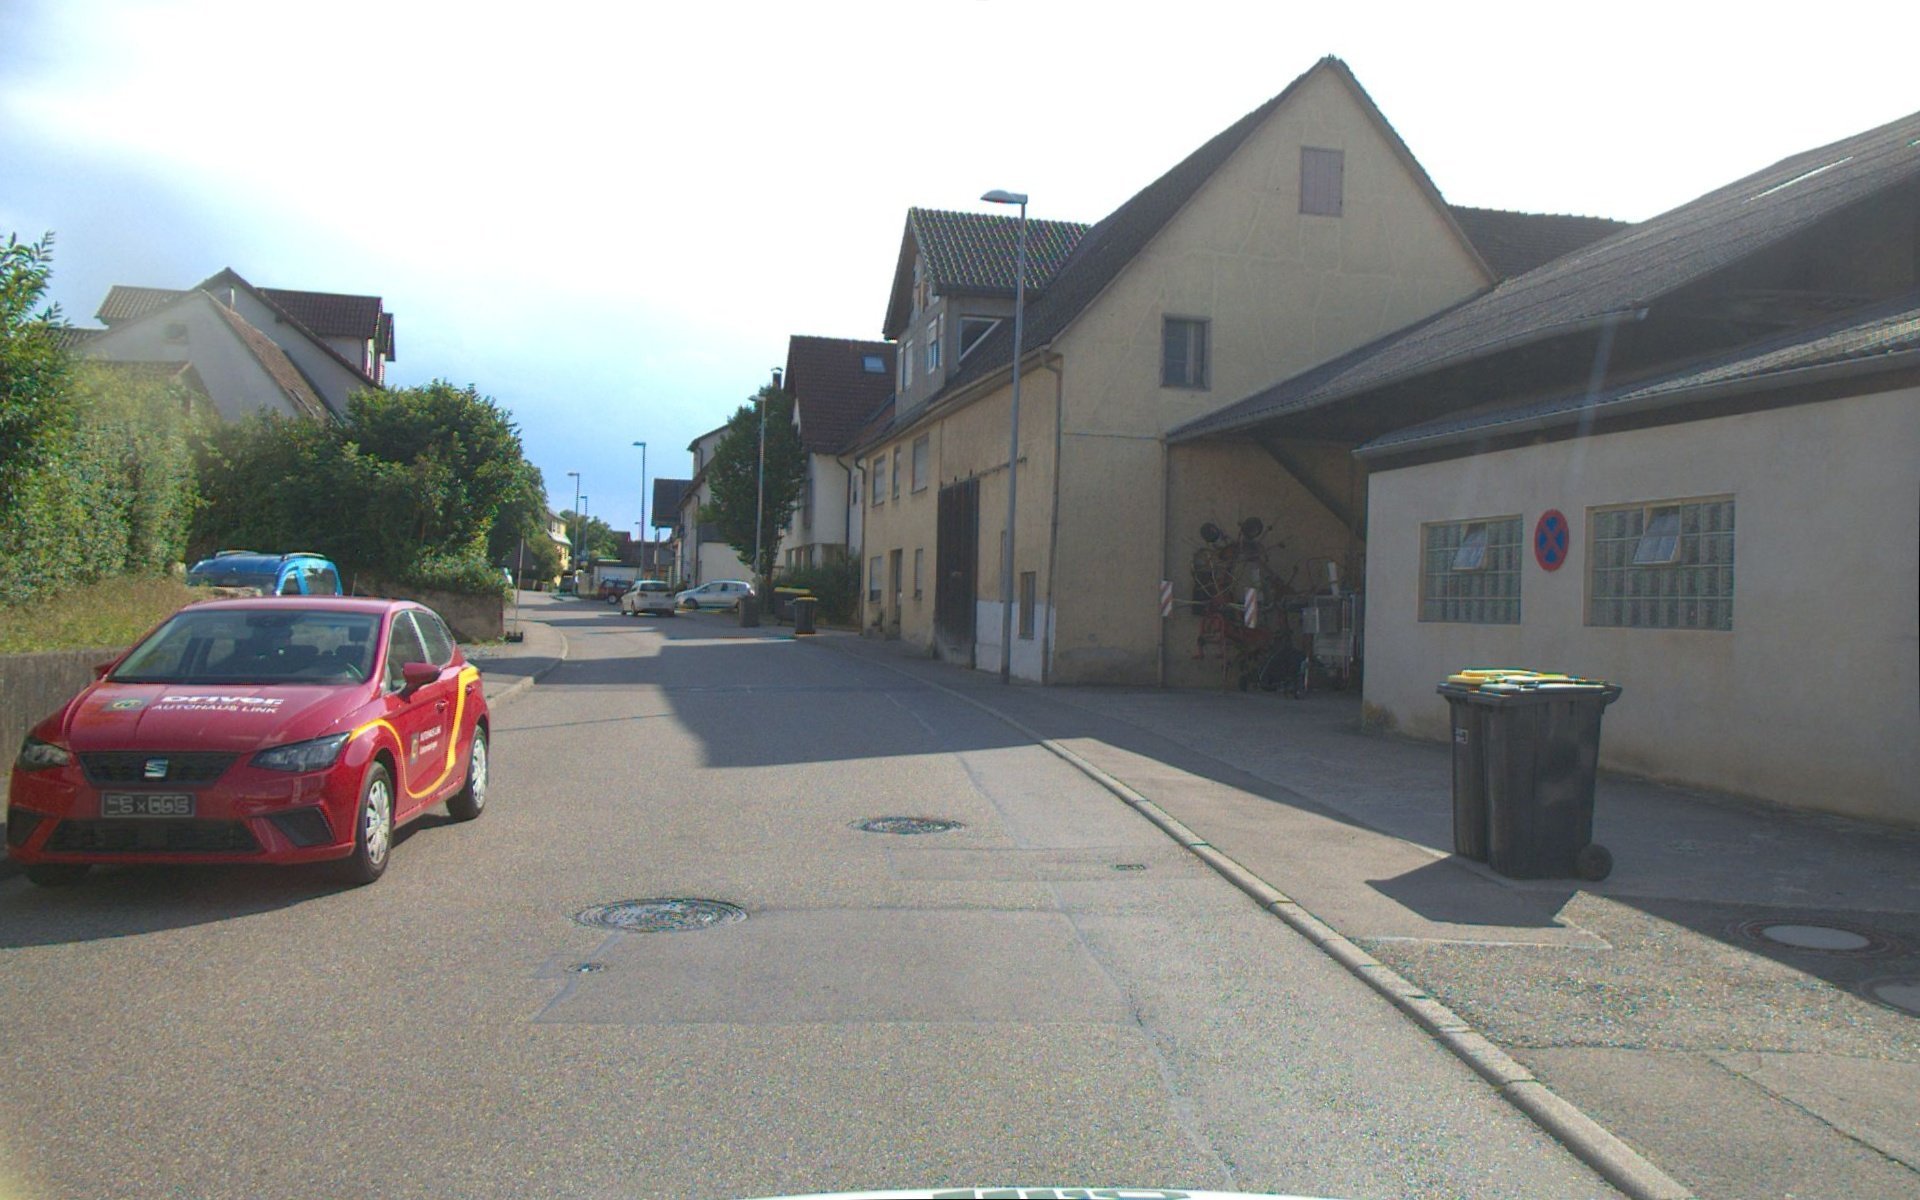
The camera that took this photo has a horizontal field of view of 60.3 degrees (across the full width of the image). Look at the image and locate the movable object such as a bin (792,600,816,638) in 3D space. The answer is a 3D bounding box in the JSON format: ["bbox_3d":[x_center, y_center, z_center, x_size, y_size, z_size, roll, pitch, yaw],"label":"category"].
[{"bbox_3d":[-4.570,0.545,48.429,0.642,1.092,0.511,1,0,-14],"label":"movable object such as a bin"}]

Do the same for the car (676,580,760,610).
[{"bbox_3d":[-11.525,-0.238,78.937,3.911,1.376,1.708,1,0,-7],"label":"car"}]

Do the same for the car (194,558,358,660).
[{"bbox_3d":[-9.985,0.128,24.350,1.332,1.396,3.192,0,0,-5],"label":"car"}]

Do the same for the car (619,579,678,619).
[{"bbox_3d":[-13.055,-0.061,69.218,1.681,1.606,3.973,1,0,-22],"label":"car"}]

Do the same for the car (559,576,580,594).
[{"bbox_3d":[-34.440,-1.326,146.002,1.675,1.578,3.987,1,0,-12],"label":"car"}]

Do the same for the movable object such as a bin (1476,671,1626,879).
[{"bbox_3d":[3.291,0.961,9.239,0.639,1.092,0.513,1,0,-1],"label":"movable object such as a bin"}]

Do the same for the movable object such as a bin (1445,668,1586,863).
[{"bbox_3d":[3.281,0.966,9.797,0.639,1.092,0.513,1,0,-1],"label":"movable object such as a bin"}]

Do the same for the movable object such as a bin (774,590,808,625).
[{"bbox_3d":[-5.976,0.265,58.542,1.139,1.189,0.653,1,0,-10],"label":"movable object such as a bin"}]

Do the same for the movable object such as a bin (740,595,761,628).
[{"bbox_3d":[-7.184,0.392,56.668,0.642,1.092,0.511,1,0,-14],"label":"movable object such as a bin"}]

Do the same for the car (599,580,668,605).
[{"bbox_3d":[-19.347,-0.453,97.890,3.919,1.376,1.705,1,0,-14],"label":"car"}]

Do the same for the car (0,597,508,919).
[{"bbox_3d":[-3.800,0.731,9.498,1.675,1.460,3.776,0,0,-5],"label":"car"}]
